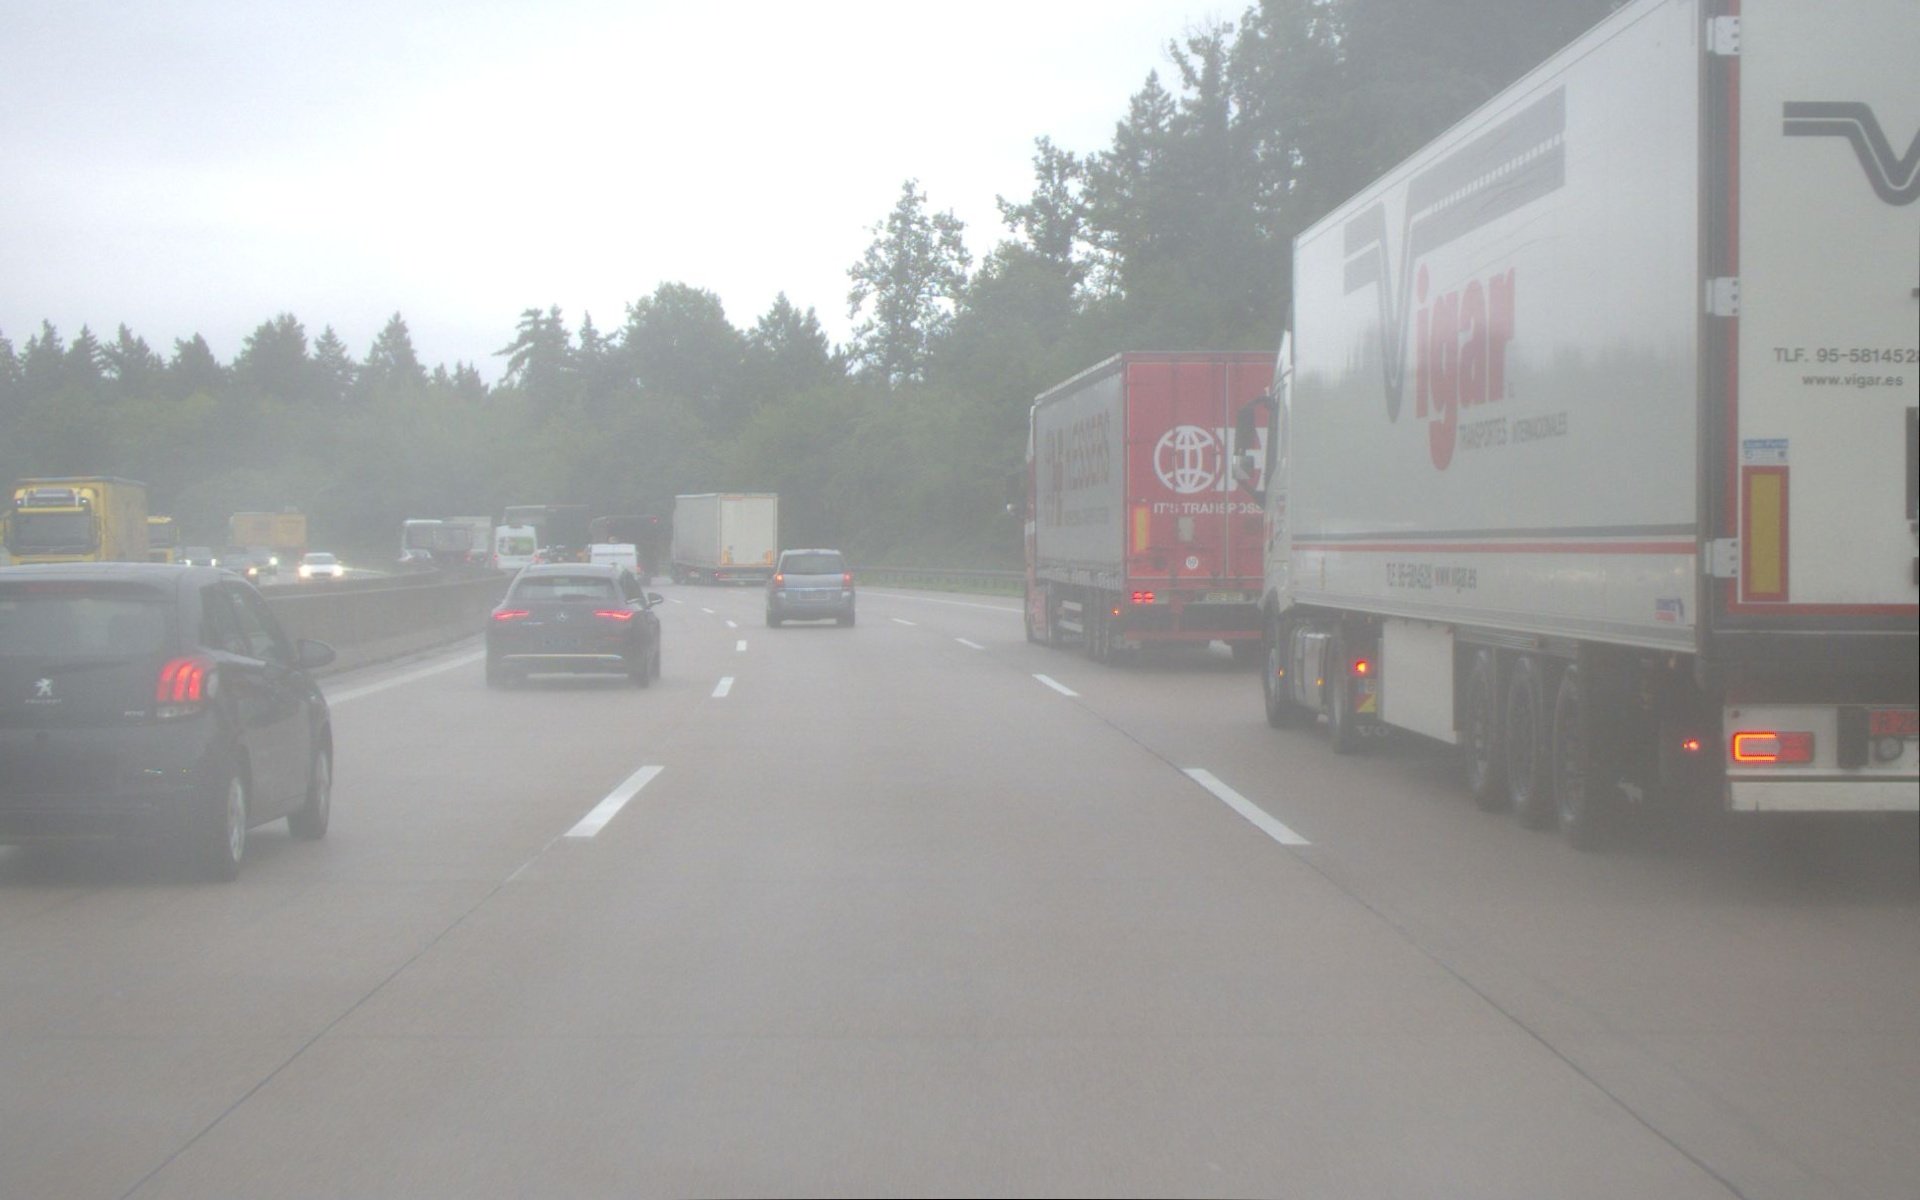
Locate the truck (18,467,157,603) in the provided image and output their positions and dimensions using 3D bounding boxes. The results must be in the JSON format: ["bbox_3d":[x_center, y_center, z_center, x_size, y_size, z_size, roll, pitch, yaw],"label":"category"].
[{"bbox_3d":[-25.741,-1.905,101.751,3.025,3.861,8.119,0,1,-7],"label":"truck"}]

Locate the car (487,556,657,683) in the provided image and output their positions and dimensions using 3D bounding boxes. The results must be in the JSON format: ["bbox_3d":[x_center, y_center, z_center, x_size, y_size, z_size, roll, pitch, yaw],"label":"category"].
[{"bbox_3d":[-4.465,0.194,39.955,1.554,1.347,3.684,2,1,-1],"label":"car"}]

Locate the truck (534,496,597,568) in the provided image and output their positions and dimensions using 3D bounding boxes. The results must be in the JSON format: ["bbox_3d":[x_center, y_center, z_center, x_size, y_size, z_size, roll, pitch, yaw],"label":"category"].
[{"bbox_3d":[-23.312,-4.070,202.748,3.368,4.117,10.440,0,2,-8],"label":"truck"}]

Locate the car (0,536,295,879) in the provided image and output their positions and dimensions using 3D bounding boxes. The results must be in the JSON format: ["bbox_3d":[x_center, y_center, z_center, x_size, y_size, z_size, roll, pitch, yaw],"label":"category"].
[{"bbox_3d":[-4.309,0.441,16.889,1.683,1.457,3.684,2,1,-6],"label":"car"}]

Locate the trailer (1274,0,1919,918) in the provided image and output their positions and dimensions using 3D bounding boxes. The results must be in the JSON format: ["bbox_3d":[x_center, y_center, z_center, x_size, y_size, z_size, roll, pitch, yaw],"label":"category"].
[{"bbox_3d":[4.135,-0.857,20.940,2.734,4.089,13.684,0,1,-2],"label":"trailer"}]

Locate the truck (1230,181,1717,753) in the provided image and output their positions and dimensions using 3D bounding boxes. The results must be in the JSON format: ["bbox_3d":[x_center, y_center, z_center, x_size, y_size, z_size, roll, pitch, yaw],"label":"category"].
[{"bbox_3d":[3.921,-1.003,27.642,2.798,4.089,5.968,0,1,-2],"label":"truck"}]

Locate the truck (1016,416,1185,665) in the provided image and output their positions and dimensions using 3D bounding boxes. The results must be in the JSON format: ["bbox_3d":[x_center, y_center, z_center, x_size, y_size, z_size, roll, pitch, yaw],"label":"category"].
[{"bbox_3d":[2.282,-0.999,57.781,2.375,3.940,6.160,0,1,-2],"label":"truck"}]

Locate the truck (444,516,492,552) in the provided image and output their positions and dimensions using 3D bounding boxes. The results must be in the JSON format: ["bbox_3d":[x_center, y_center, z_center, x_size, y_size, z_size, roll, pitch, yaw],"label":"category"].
[{"bbox_3d":[-33.355,-4.481,233.093,2.973,2.301,6.669,2,1,-10],"label":"truck"}]

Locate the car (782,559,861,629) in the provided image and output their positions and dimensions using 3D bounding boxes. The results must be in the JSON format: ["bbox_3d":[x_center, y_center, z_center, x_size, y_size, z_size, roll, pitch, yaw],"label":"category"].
[{"bbox_3d":[-2.897,-0.139,71.412,1.553,1.347,3.684,2,1,-3],"label":"car"}]

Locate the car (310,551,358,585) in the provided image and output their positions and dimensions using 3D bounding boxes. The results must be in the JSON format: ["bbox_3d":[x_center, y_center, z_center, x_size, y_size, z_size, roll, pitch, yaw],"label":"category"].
[{"bbox_3d":[-27.639,-1.436,151.841,1.653,1.474,4.546,0,1,-5],"label":"car"}]

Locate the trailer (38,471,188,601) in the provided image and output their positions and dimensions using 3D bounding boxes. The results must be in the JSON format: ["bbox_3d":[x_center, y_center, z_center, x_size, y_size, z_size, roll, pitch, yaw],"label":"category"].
[{"bbox_3d":[-26.647,-2.001,108.766,3.013,3.861,13.704,0,1,-7],"label":"trailer"}]

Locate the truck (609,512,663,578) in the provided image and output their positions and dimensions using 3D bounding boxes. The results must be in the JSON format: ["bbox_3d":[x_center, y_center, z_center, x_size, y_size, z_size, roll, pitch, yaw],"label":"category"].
[{"bbox_3d":[-14.576,-2.480,154.233,2.269,2.877,7.905,0,1,-6],"label":"truck"}]

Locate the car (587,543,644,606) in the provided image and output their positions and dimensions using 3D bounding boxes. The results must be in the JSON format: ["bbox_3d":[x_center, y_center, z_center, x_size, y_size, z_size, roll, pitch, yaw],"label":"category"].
[{"bbox_3d":[-11.350,-0.845,113.080,1.725,2.007,3.658,-1,1,-7],"label":"car"}]

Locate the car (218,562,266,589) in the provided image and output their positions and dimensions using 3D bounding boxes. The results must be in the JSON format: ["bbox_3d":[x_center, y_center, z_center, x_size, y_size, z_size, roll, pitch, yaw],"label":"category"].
[{"bbox_3d":[-32.657,-1.105,156.523,1.653,1.194,4.546,0,1,-5],"label":"car"}]

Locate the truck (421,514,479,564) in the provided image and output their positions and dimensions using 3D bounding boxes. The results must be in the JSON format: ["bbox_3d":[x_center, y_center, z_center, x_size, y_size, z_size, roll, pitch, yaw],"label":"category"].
[{"bbox_3d":[-31.749,-3.823,213.733,3.081,2.895,7.906,1,2,-12],"label":"truck"}]

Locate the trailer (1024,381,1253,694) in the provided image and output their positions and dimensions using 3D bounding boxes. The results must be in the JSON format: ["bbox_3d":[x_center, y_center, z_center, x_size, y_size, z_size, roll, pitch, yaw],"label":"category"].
[{"bbox_3d":[2.381,-0.880,49.853,2.370,3.940,12.521,1,1,-1],"label":"trailer"}]

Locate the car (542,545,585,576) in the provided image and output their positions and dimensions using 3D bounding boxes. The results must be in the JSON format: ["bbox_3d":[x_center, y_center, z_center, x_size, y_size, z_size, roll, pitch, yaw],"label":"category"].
[{"bbox_3d":[-19.965,-2.007,172.865,1.881,1.468,4.001,2,1,-10],"label":"car"}]

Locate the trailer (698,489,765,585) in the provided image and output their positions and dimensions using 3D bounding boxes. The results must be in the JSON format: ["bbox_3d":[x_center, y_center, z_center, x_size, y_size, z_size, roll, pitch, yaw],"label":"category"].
[{"bbox_3d":[-10.127,-2.828,151.223,2.419,4.054,12.058,0,2,-6],"label":"trailer"}]

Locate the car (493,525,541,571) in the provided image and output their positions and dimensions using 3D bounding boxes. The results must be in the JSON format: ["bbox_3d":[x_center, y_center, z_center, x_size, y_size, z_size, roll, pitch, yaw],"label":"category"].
[{"bbox_3d":[-20.332,-2.406,157.828,1.993,2.052,4.001,-1,1,-10],"label":"car"}]
